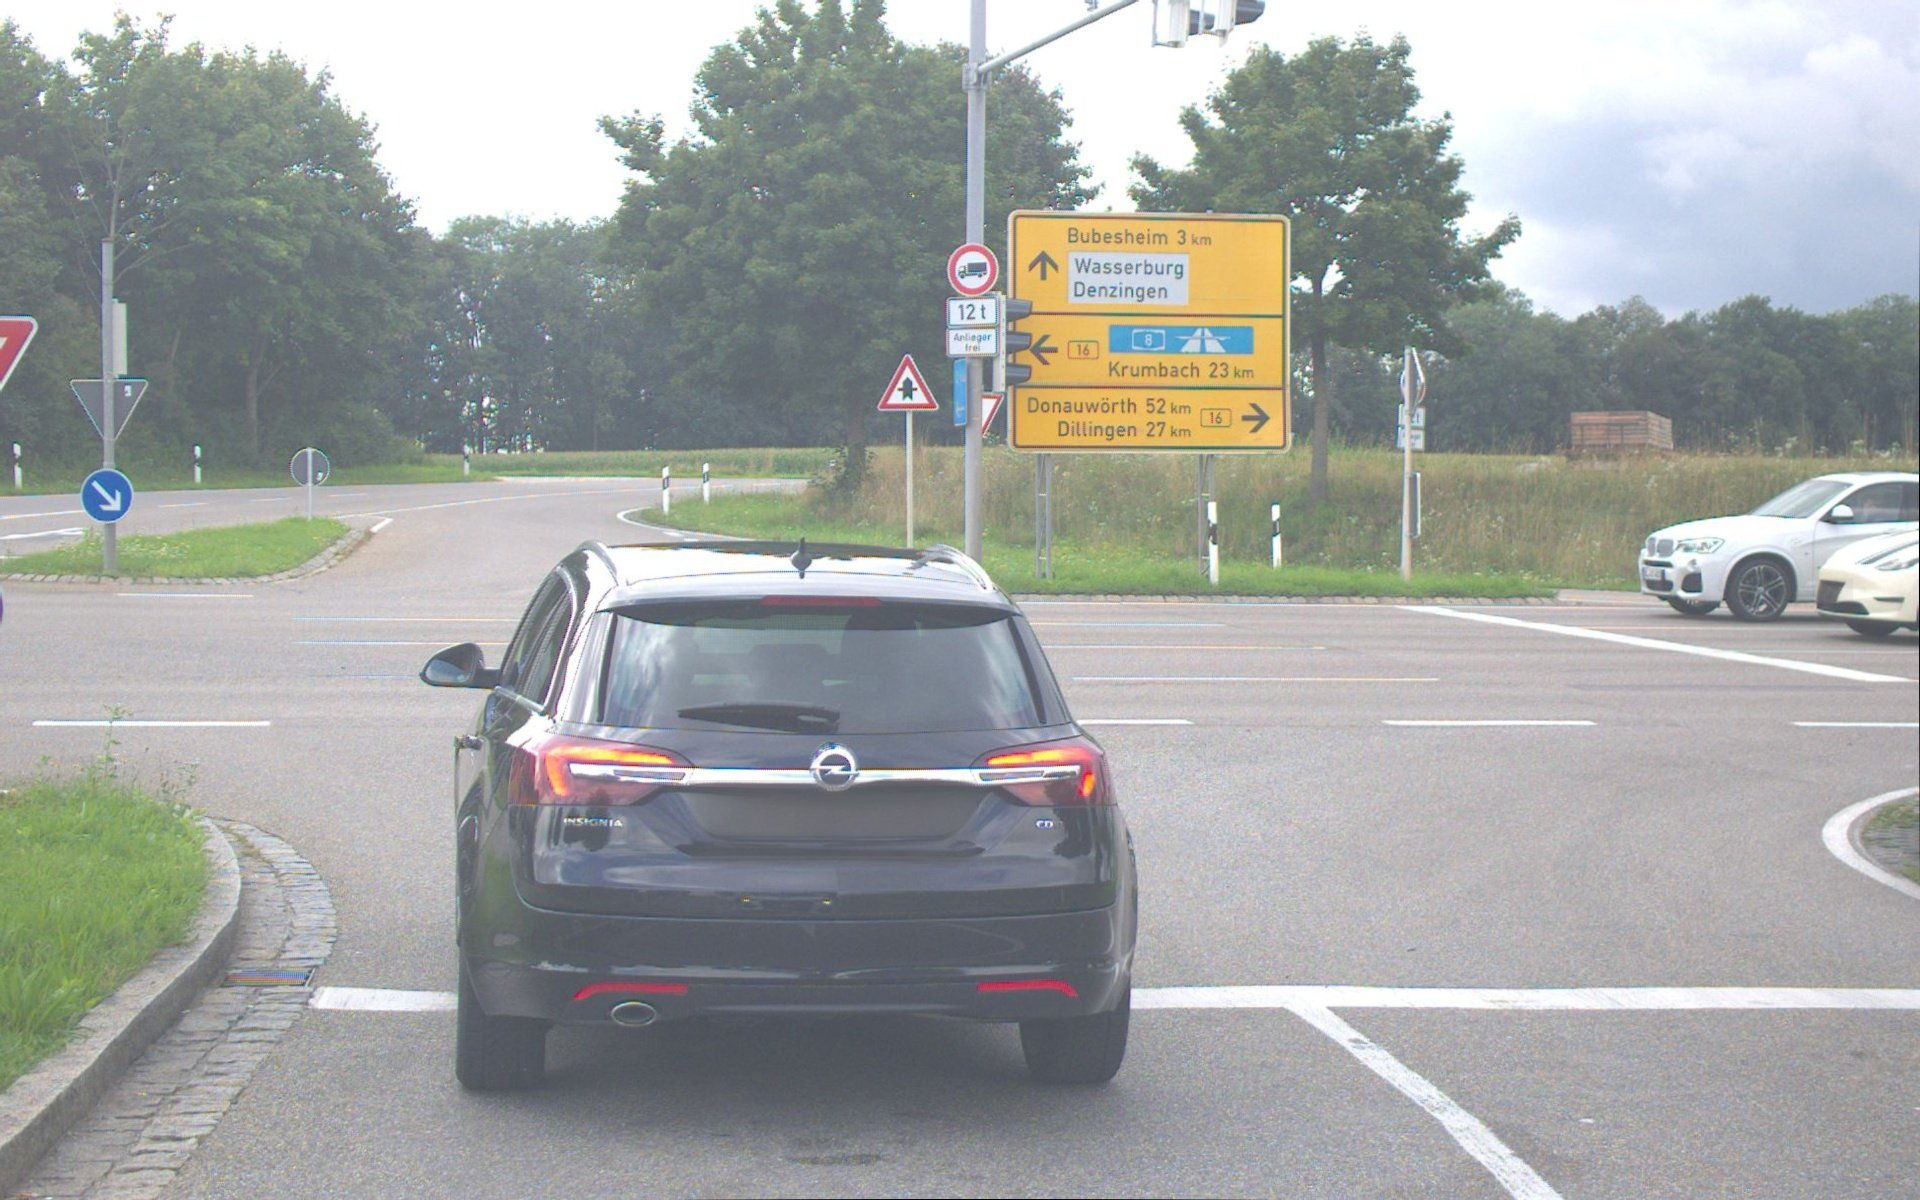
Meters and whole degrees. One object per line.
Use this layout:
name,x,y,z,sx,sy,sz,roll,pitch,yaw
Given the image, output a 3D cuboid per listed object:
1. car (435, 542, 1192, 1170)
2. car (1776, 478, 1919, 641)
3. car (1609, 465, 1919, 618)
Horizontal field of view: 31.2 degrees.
car,-0.647,0.580,10.368,1.807,1.446,4.274,1,1,-8
car,10.825,-0.393,34.430,4.731,1.559,2.001,0,1,-12
car,9.618,-0.644,38.178,4.259,1.623,2.001,0,1,-13
